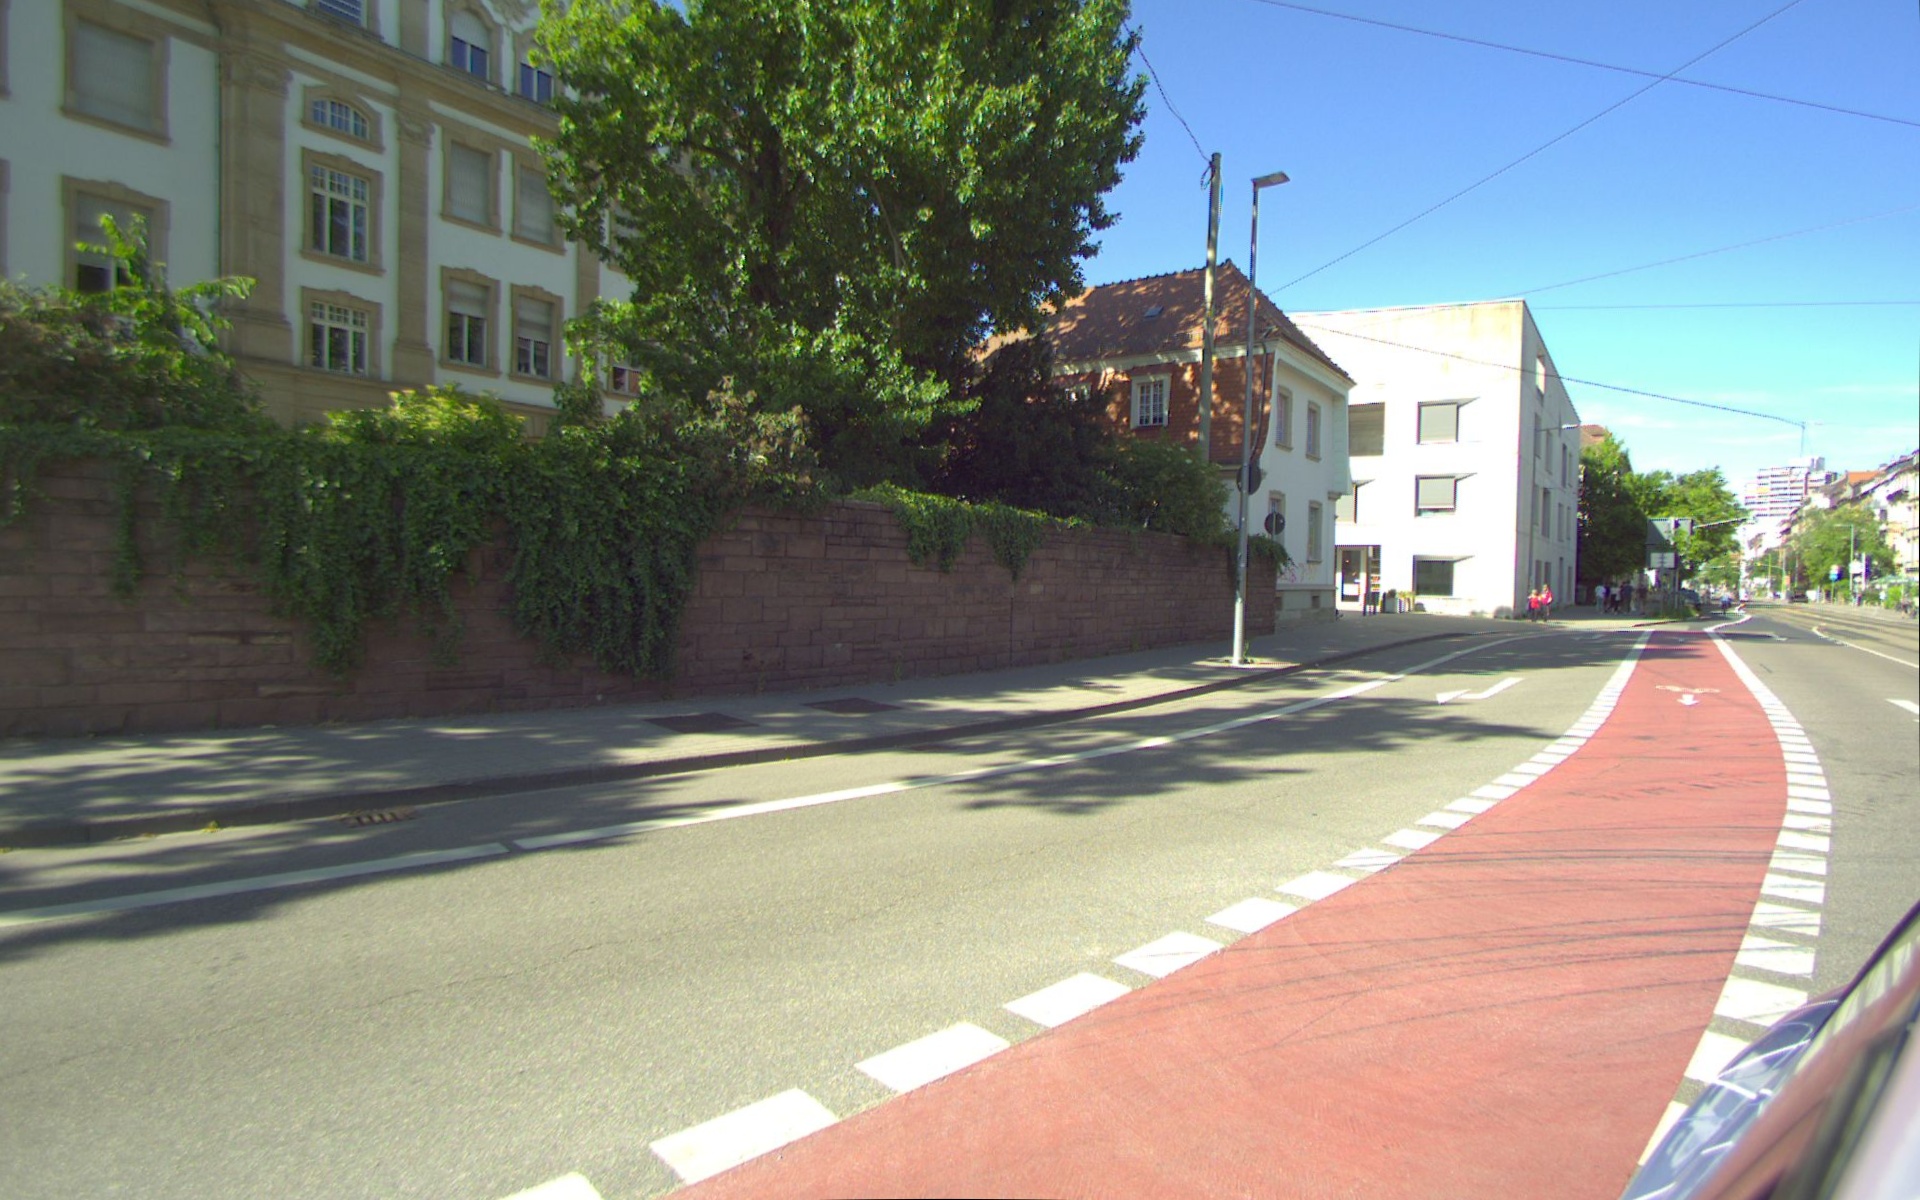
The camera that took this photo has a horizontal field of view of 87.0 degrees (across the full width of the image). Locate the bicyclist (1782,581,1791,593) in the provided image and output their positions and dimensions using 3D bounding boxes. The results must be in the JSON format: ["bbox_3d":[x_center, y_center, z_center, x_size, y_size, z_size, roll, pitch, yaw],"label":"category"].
[{"bbox_3d":[118.541,-1.894,145.143,0.998,1.743,0.972,0,1,37],"label":"bicyclist"}]

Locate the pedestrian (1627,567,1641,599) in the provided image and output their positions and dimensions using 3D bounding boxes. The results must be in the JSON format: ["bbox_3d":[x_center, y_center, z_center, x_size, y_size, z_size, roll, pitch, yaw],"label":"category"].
[{"bbox_3d":[38.597,-0.966,57.931,0.584,1.828,0.538,2,1,36],"label":"pedestrian"}]

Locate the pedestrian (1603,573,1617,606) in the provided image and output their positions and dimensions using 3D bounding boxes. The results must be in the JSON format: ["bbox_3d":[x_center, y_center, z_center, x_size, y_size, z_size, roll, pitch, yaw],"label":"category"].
[{"bbox_3d":[36.758,-0.577,57.225,0.584,1.828,0.575,2,1,36],"label":"pedestrian"}]

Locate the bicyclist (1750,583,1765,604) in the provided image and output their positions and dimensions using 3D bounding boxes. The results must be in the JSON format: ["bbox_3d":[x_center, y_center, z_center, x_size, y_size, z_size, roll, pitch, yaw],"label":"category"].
[{"bbox_3d":[90.189,-0.758,114.407,0.990,2.296,1.016,0,1,17],"label":"bicyclist"}]

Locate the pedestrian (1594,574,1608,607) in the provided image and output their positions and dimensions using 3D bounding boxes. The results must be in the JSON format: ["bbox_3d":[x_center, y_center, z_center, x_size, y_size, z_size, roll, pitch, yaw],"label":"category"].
[{"bbox_3d":[35.400,-0.539,55.928,0.584,1.828,0.538,2,1,36],"label":"pedestrian"}]

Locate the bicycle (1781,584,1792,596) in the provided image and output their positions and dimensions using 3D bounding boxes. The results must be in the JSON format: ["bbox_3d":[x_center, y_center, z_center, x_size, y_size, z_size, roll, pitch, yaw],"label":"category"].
[{"bbox_3d":[118.550,-1.470,145.151,0.998,1.702,2.946,0,2,37],"label":"bicycle"}]

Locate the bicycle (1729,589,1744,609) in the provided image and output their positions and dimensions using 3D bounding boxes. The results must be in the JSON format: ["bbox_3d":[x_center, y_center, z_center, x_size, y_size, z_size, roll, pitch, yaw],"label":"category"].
[{"bbox_3d":[47.134,-0.065,61.425,0.663,1.166,1.648,0,2,40],"label":"bicycle"}]

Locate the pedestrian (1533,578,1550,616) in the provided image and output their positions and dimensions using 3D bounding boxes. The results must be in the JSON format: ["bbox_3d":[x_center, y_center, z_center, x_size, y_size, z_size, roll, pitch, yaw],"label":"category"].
[{"bbox_3d":[24.783,-0.121,43.138,0.531,1.586,0.513,2,1,36],"label":"pedestrian"}]

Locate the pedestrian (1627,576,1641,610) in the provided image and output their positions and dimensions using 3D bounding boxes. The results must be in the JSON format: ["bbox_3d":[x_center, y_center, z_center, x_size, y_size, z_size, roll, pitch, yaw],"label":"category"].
[{"bbox_3d":[36.711,-0.393,55.104,0.584,1.828,0.513,2,1,36],"label":"pedestrian"}]

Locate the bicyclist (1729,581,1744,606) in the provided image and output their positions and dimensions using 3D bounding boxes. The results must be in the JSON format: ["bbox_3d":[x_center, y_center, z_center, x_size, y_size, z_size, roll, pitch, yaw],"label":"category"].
[{"bbox_3d":[47.101,-0.406,61.386,0.663,1.480,0.613,0,1,41],"label":"bicyclist"}]

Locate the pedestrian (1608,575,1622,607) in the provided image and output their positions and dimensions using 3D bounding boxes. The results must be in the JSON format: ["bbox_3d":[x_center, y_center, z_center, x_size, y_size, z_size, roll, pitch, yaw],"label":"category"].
[{"bbox_3d":[37.848,-0.530,58.475,0.584,1.828,0.538,2,1,36],"label":"pedestrian"}]

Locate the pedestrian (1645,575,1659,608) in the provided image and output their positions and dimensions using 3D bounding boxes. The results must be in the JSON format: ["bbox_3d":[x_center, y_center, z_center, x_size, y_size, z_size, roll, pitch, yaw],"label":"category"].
[{"bbox_3d":[37.391,-0.466,54.656,0.584,1.749,0.513,2,1,36],"label":"pedestrian"}]

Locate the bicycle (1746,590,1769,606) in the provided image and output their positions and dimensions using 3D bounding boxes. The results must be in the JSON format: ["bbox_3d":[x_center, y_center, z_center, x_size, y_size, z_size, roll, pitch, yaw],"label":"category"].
[{"bbox_3d":[90.165,-0.250,114.398,0.989,1.702,2.970,0,1,16],"label":"bicycle"}]

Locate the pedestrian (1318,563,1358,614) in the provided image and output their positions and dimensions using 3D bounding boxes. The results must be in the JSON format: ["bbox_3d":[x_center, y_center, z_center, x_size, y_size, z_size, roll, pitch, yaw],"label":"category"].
[{"bbox_3d":[13.078,-0.413,35.059,0.923,1.698,0.954,3,3,1],"label":"pedestrian"}]

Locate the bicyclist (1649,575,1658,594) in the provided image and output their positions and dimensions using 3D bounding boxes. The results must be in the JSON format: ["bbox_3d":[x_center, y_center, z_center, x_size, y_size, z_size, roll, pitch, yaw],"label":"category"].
[{"bbox_3d":[81.664,-1.802,119.188,0.809,2.234,0.971,0,1,39],"label":"bicyclist"}]

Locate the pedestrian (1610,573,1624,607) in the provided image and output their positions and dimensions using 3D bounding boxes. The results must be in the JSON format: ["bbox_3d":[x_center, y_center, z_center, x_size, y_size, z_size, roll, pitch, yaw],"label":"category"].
[{"bbox_3d":[36.079,-0.537,55.600,0.584,1.828,0.538,2,1,36],"label":"pedestrian"}]

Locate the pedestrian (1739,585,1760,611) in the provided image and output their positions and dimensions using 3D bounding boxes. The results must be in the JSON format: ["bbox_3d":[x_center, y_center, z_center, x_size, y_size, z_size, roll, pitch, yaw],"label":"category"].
[{"bbox_3d":[53.934,-0.143,69.141,0.919,1.759,0.675,2,1,18],"label":"pedestrian"}]

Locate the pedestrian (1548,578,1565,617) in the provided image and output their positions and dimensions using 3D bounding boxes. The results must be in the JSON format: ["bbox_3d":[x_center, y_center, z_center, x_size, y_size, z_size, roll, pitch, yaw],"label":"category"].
[{"bbox_3d":[25.116,-0.109,42.615,0.531,1.586,0.513,2,1,36],"label":"pedestrian"}]

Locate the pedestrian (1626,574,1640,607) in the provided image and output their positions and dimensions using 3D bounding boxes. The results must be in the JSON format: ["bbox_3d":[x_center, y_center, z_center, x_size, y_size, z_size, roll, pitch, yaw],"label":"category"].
[{"bbox_3d":[37.791,-0.561,56.806,0.584,1.828,0.575,2,1,36],"label":"pedestrian"}]
